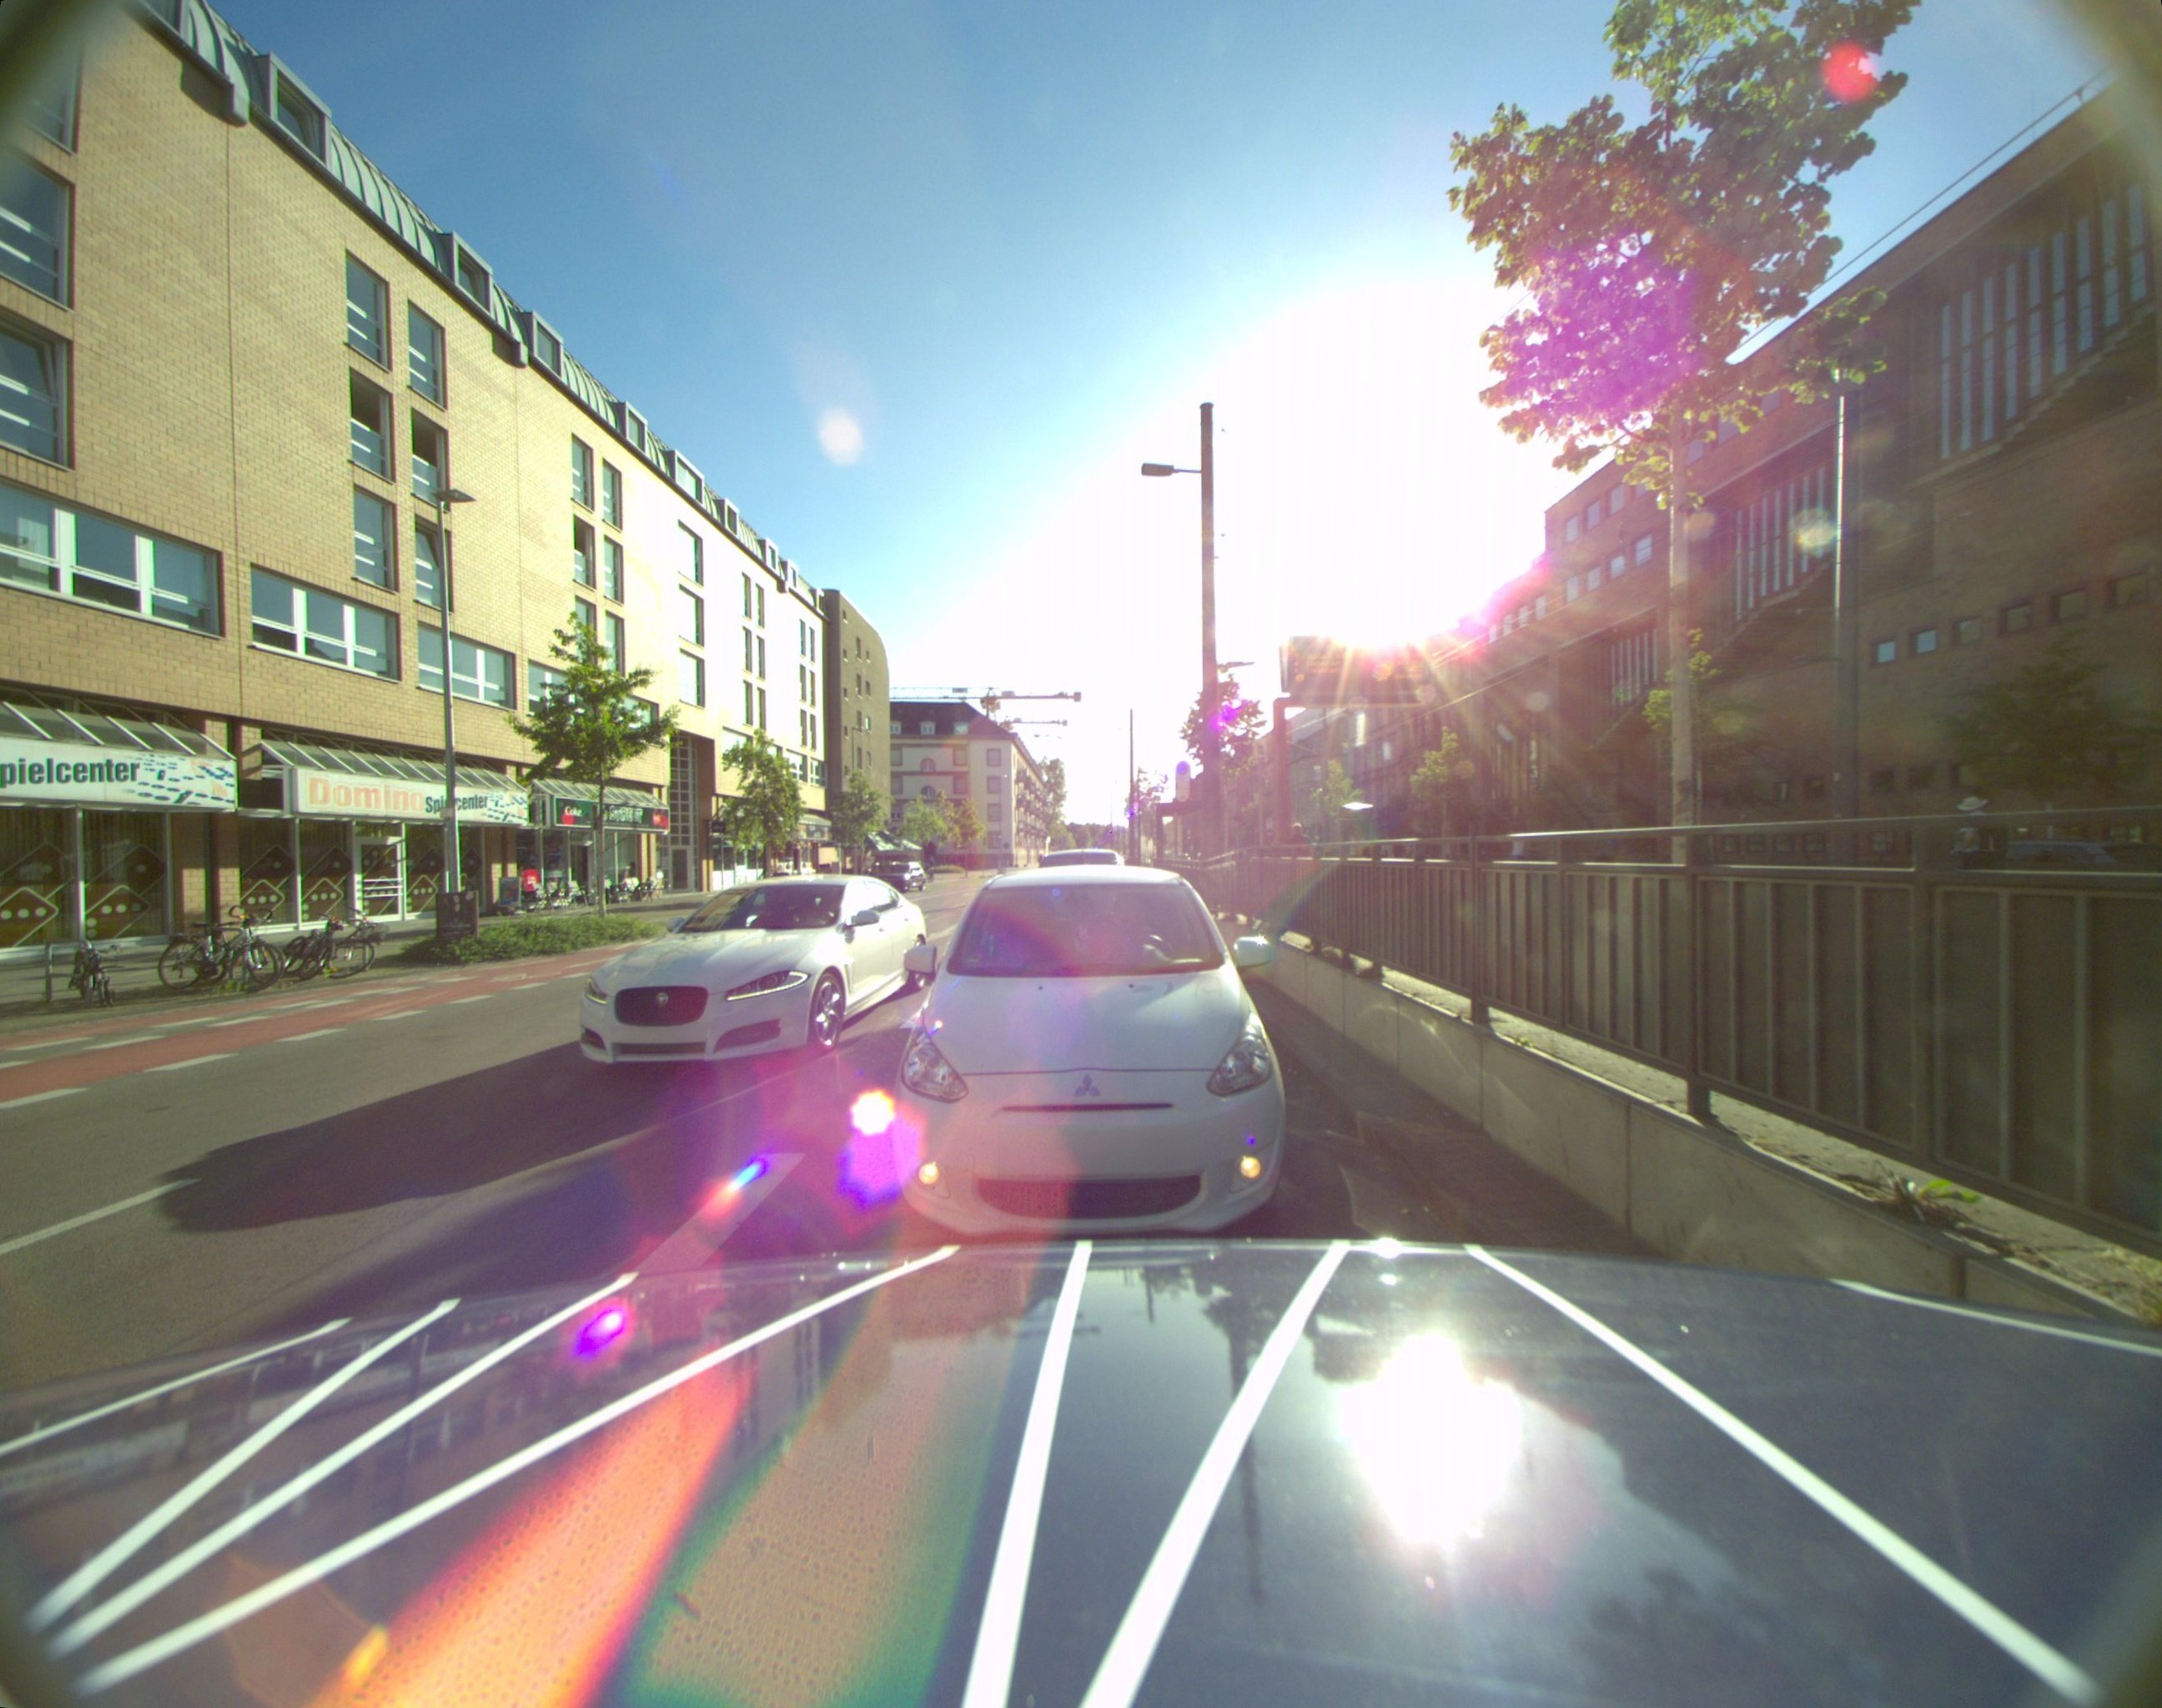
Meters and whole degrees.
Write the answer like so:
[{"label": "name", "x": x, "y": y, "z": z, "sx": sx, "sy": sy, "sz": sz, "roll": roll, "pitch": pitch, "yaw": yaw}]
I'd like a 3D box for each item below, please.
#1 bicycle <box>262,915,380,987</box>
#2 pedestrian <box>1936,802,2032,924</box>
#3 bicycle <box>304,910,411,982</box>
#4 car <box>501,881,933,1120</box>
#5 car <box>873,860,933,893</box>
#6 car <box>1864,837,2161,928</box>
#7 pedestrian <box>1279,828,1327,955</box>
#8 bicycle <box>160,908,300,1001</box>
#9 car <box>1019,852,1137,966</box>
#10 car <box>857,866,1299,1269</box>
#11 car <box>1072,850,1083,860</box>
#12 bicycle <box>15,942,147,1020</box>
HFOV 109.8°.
[{"label": "bicycle", "x": -12.025, "y": 1.513, "z": 12.024, "sx": 1.835, "sy": 0.980, "sz": 0.449, "roll": 1, "pitch": 2, "yaw": 15}, {"label": "pedestrian", "x": 13.862, "y": 0.124, "z": 11.679, "sx": 0.685, "sy": 1.797, "sz": 0.668, "roll": -2, "pitch": 2, "yaw": 0}, {"label": "bicycle", "x": -11.894, "y": 1.497, "z": 12.480, "sx": 1.835, "sy": 1.050, "sz": 0.350, "roll": 1, "pitch": 2, "yaw": 15}, {"label": "car", "x": -2.899, "y": 1.076, "z": 7.348, "sx": 1.807, "sy": 1.421, "sz": 4.454, "roll": -1, "pitch": 0, "yaw": 3}, {"label": "car", "x": -9.684, "y": 1.178, "z": 41.638, "sx": 1.778, "sy": 1.630, "sz": 4.002, "roll": 1, "pitch": 1, "yaw": 9}, {"label": "car", "x": 18.869, "y": 0.458, "z": 15.225, "sx": 1.830, "sy": 1.559, "sz": 4.239, "roll": 0, "pitch": 1, "yaw": -3}, {"label": "pedestrian", "x": 4.390, "y": 0.724, "z": 15.040, "sx": 0.684, "sy": 2.428, "sz": 0.626, "roll": -2, "pitch": 2, "yaw": -2}, {"label": "bicycle", "x": -12.290, "y": 1.424, "z": 10.978, "sx": 1.835, "sy": 1.156, "sz": 0.565, "roll": 1, "pitch": 2, "yaw": 15}, {"label": "car", "x": -0.049, "y": 0.834, "z": 13.662, "sx": 1.720, "sy": 1.591, "sz": 4.215, "roll": -2, "pitch": 1, "yaw": 0}, {"label": "car", "x": -0.011, "y": 0.896, "z": 5.168, "sx": 1.720, "sy": 1.422, "sz": 4.215, "roll": -2, "pitch": 1, "yaw": 0}, {"label": "car", "x": -0.816, "y": 0.159, "z": 156.700, "sx": 2.164, "sy": 1.904, "sz": 4.472, "roll": -2, "pitch": 0, "yaw": 0}, {"label": "bicycle", "x": -12.894, "y": 1.621, "z": 9.797, "sx": 1.772, "sy": 0.827, "sz": 0.366, "roll": 1, "pitch": 2, "yaw": 15}]
